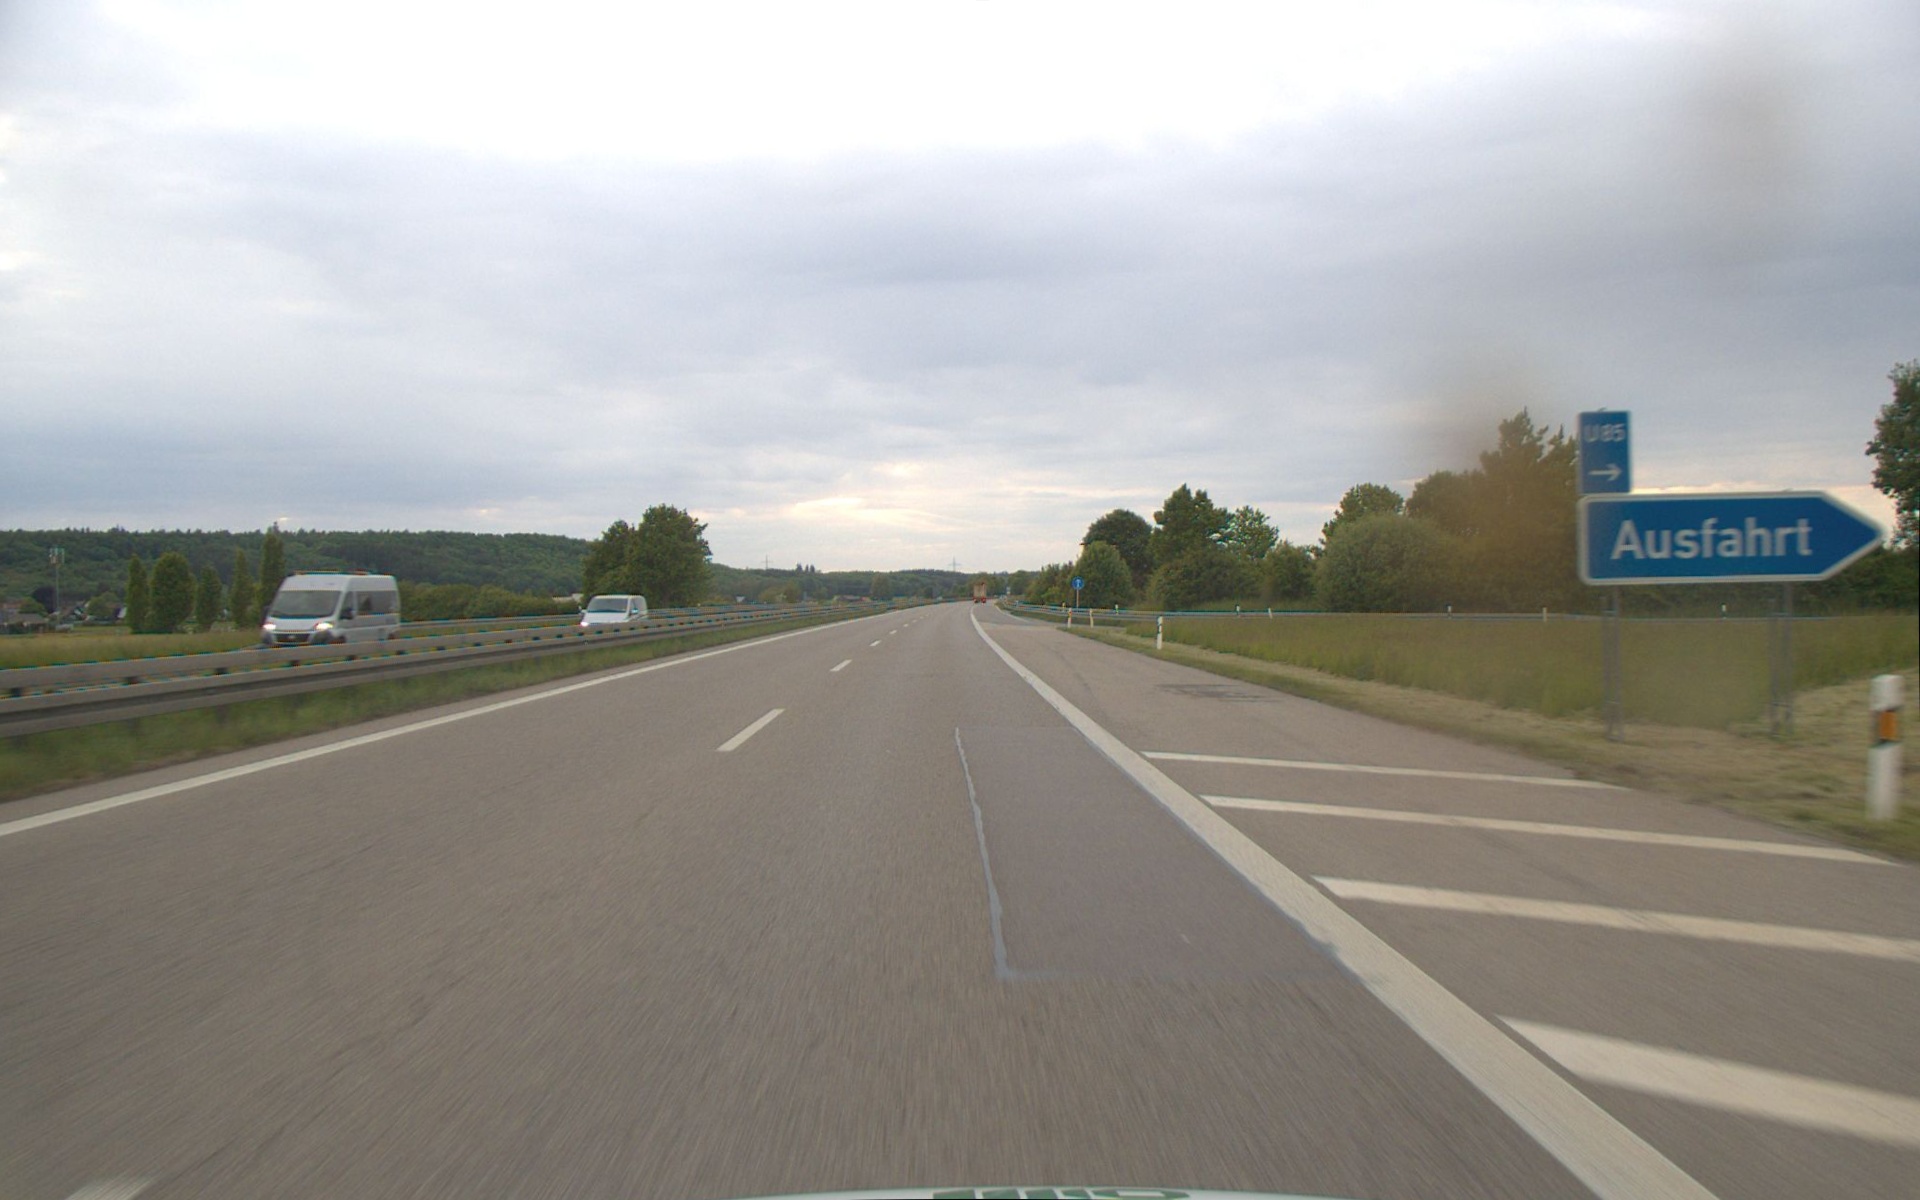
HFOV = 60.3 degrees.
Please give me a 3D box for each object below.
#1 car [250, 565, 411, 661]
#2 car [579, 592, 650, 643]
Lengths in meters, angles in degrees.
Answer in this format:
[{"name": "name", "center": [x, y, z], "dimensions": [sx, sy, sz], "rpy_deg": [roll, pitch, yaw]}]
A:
[{"name": "car", "center": [-17.693, 0.340, 46.905], "dimensions": [2.102, 2.526, 6.588], "rpy_deg": [0, 0, -1]}, {"name": "car", "center": [-13.695, 0.652, 65.874], "dimensions": [1.867, 1.924, 5.070], "rpy_deg": [0, 0, -1]}]
